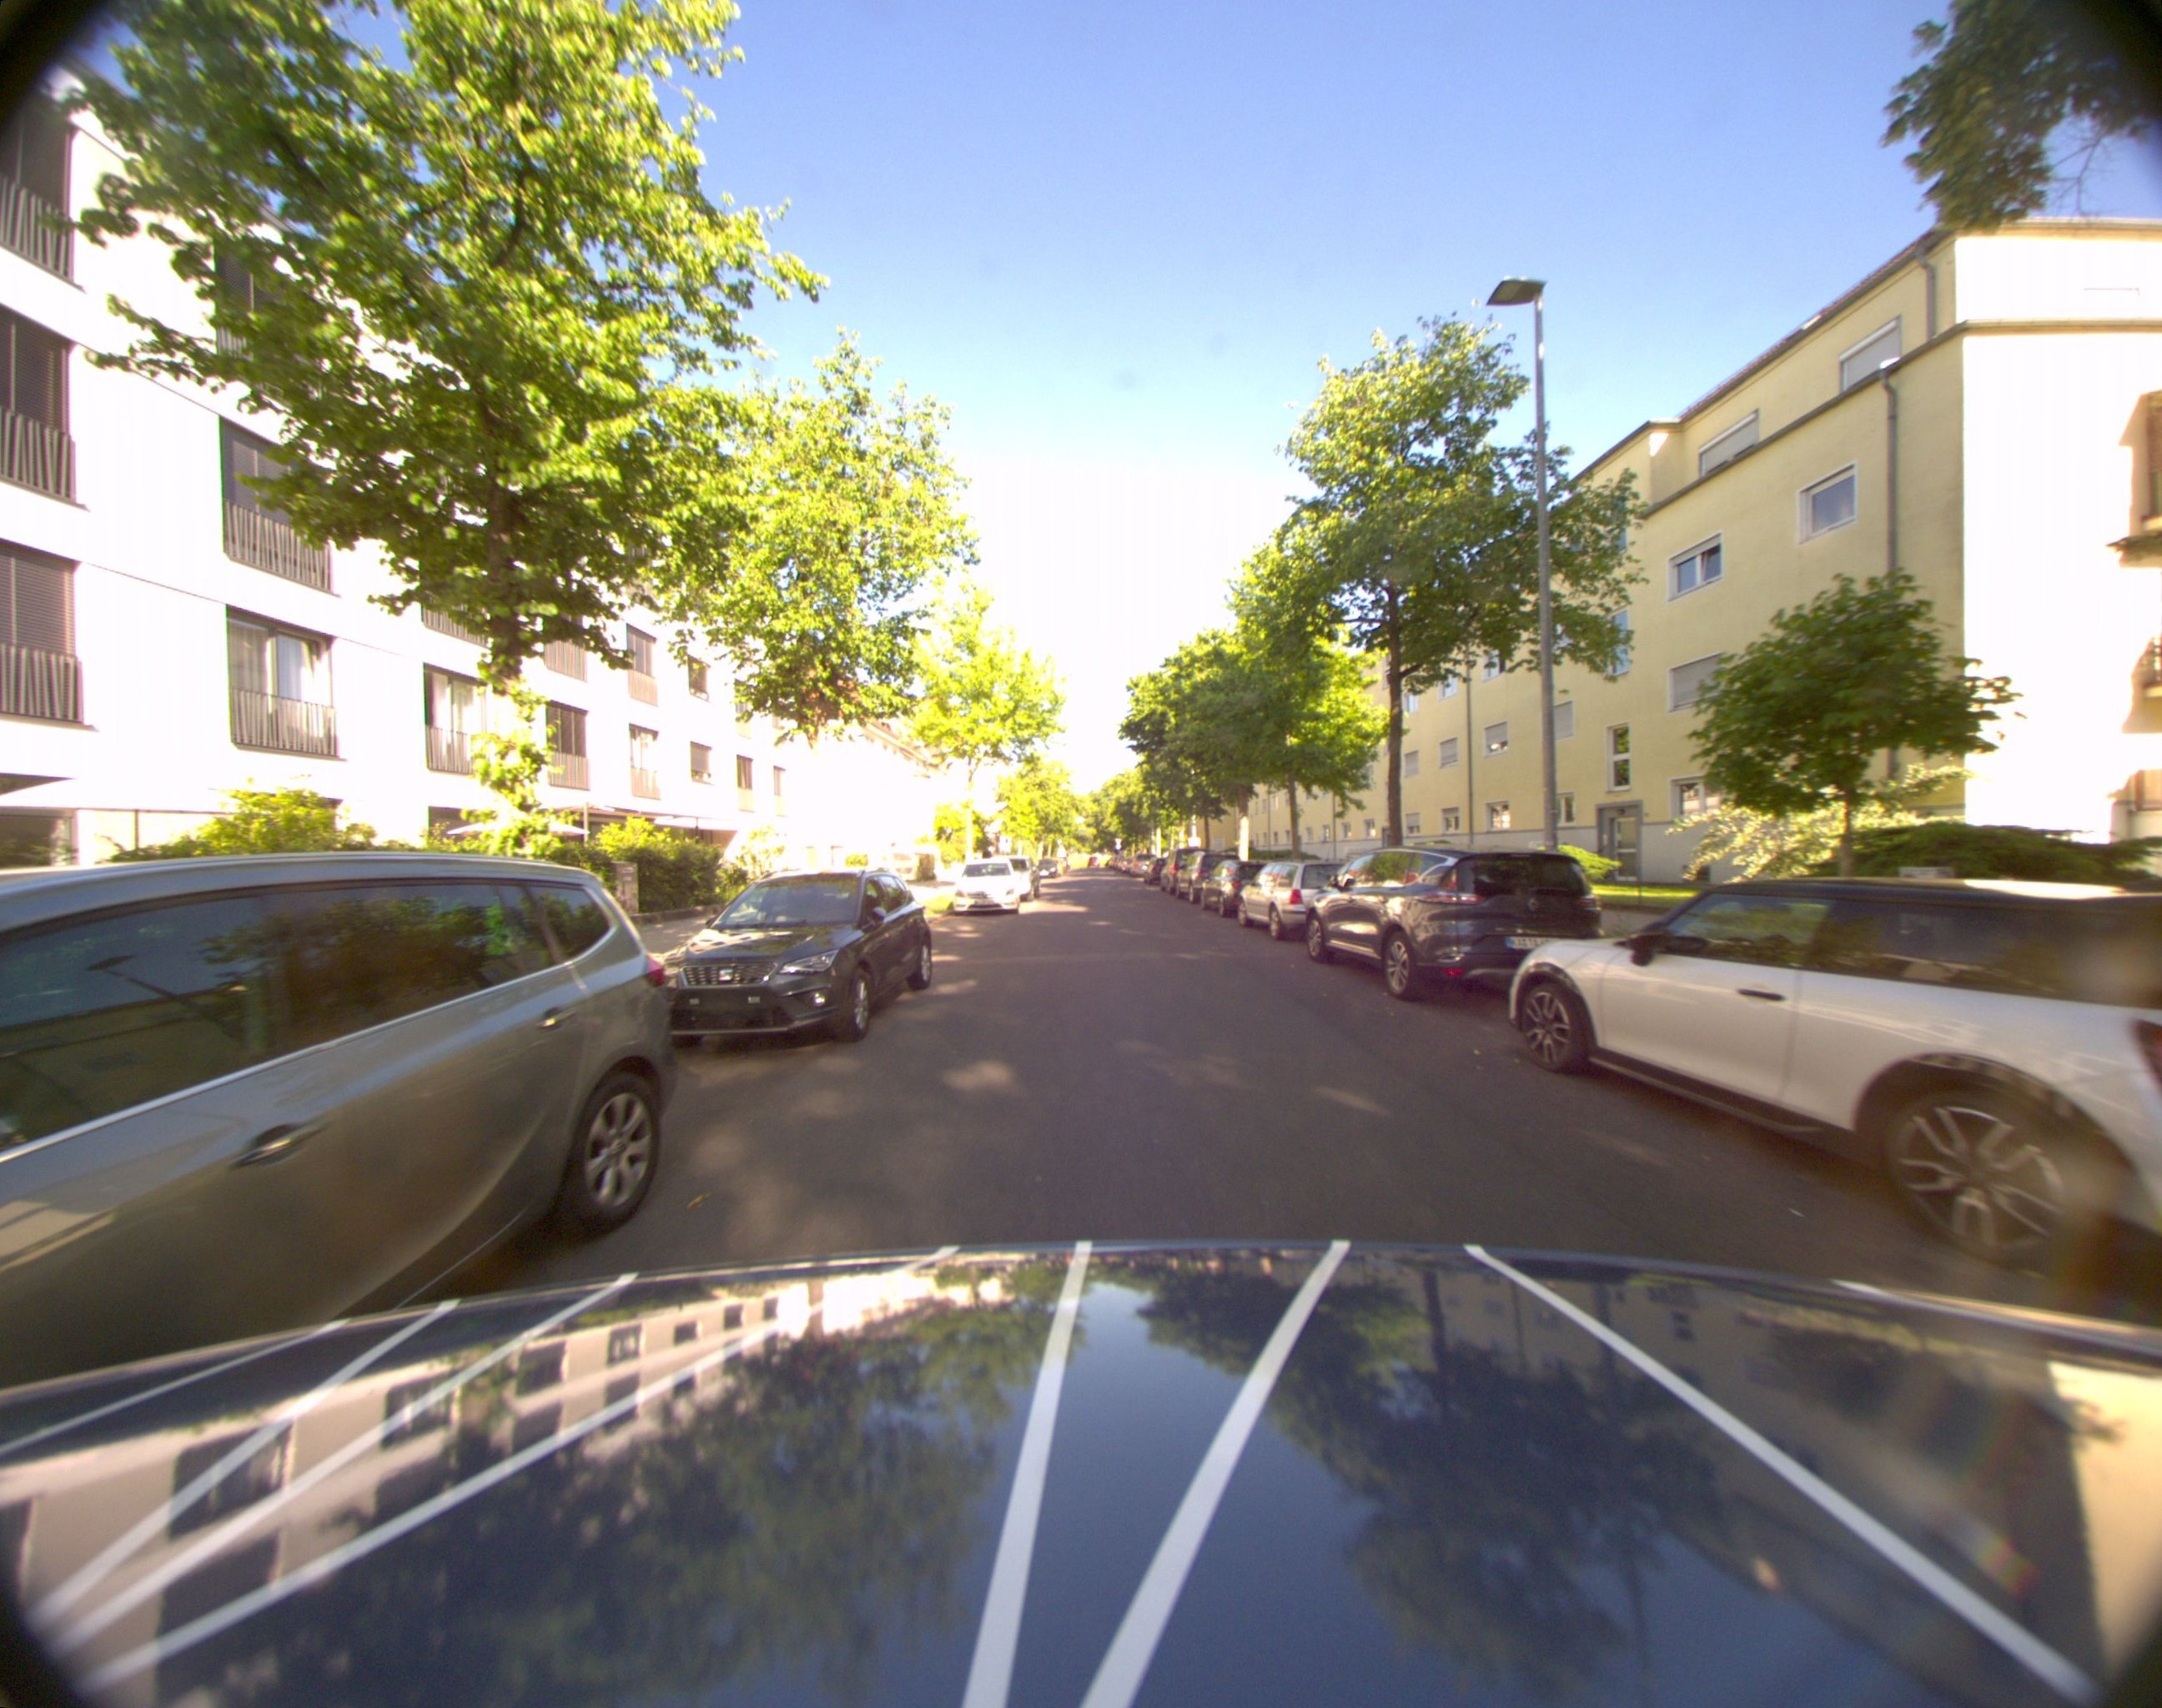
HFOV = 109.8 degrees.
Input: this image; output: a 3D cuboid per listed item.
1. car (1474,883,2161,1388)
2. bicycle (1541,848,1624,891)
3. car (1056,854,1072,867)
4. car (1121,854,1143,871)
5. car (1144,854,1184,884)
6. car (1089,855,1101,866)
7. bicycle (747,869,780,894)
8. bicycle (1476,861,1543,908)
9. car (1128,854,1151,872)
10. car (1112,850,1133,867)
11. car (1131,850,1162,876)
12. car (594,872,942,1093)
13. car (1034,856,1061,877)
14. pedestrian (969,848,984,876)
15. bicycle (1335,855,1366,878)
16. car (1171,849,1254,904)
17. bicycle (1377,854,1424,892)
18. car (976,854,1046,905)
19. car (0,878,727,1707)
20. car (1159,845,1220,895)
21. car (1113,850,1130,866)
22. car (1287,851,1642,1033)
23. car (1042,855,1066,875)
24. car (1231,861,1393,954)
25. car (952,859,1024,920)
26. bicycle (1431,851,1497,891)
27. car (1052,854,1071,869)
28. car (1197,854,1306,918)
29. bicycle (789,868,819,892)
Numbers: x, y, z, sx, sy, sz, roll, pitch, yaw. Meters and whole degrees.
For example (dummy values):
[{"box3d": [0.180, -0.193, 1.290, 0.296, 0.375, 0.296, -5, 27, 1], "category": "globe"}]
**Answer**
[{"box3d": [4.101, 0.939, 4.180, 1.658, 1.365, 4.188, 0, 0, -1], "category": "car"}, {"box3d": [14.954, 0.449, 22.674, 1.957, 1.218, 0.777, -2, 1, -2], "category": "bicycle"}, {"box3d": [-1.956, 0.742, 88.546, 1.670, 1.456, 3.536, 0, 0, 2], "category": "car"}, {"box3d": [4.460, 0.735, 66.961, 1.606, 1.382, 3.812, -1, 0, 0], "category": "car"}, {"box3d": [4.490, 0.782, 41.495, 1.780, 1.462, 4.063, 1, 0, 1], "category": "car"}, {"box3d": [1.895, 0.833, 102.811, 1.665, 1.456, 3.447, 0, 0, 2], "category": "car"}, {"box3d": [-12.403, 1.050, 29.694, 0.564, 0.889, 1.609, -1, 0, 1], "category": "bicycle"}, {"box3d": [10.523, 0.715, 18.743, 0.573, 1.055, 1.933, -2, 1, 1], "category": "bicycle"}, {"box3d": [4.763, 0.742, 62.474, 1.606, 1.382, 3.812, -1, 0, 0], "category": "car"}, {"box3d": [4.551, 0.449, 83.853, 1.891, 1.797, 3.913, -1, 0, -3], "category": "car"}, {"box3d": [4.546, 0.597, 53.273, 1.864, 1.718, 4.000, 1, 0, 1], "category": "car"}, {"box3d": [-2.775, 1.031, 7.941, 1.722, 1.507, 4.344, -2, 0, 1], "category": "car"}, {"box3d": [-2.383, 0.867, 55.136, 1.670, 1.456, 3.536, 0, 0, 2], "category": "car"}, {"box3d": [-7.423, 0.543, 54.231, 0.907, 2.002, 1.006, 0, 1, 1], "category": "pedestrian"}, {"box3d": [11.146, 0.490, 31.481, 0.596, 0.911, 1.903, 0, 0, -1], "category": "bicycle"}, {"box3d": [4.293, 0.674, 25.484, 1.798, 1.676, 4.525, 0, 0, -3], "category": "car"}, {"box3d": [10.644, 0.603, 25.398, 0.596, 1.183, 2.260, 0, 0, -1], "category": "bicycle"}, {"box3d": [-2.477, 0.859, 28.098, 1.901, 1.638, 4.862, -2, 0, 2], "category": "car"}, {"box3d": [-2.889, 1.009, 1.764, 1.797, 1.633, 4.818, -3, 0, 0], "category": "car"}, {"box3d": [4.320, 0.588, 30.866, 1.798, 1.839, 4.866, 0, 0, 0], "category": "car"}, {"box3d": [4.717, 0.485, 88.765, 1.713, 1.752, 3.712, -1, 1, 0], "category": "car"}, {"box3d": [4.178, 0.791, 9.456, 1.846, 1.647, 5.087, 0, 0, 0], "category": "car"}, {"box3d": [-2.095, 0.850, 59.915, 1.670, 1.456, 3.536, 0, 0, 2], "category": "car"}, {"box3d": [4.246, 0.898, 14.760, 1.711, 1.472, 4.489, 0, 0, -1], "category": "car"}, {"box3d": [-2.627, 0.941, 22.325, 1.786, 1.509, 4.685, -2, 0, -4], "category": "car"}, {"box3d": [12.381, 0.533, 24.585, 1.826, 1.218, 0.517, -2, 1, 1], "category": "bicycle"}, {"box3d": [-1.933, 0.742, 75.246, 1.670, 1.456, 3.536, 0, 0, 2], "category": "car"}, {"box3d": [4.273, 0.738, 19.781, 1.798, 1.443, 4.489, 0, 0, 0], "category": "car"}, {"box3d": [-10.826, 0.998, 29.745, 0.564, 0.889, 1.609, -1, 0, 1], "category": "bicycle"}]
